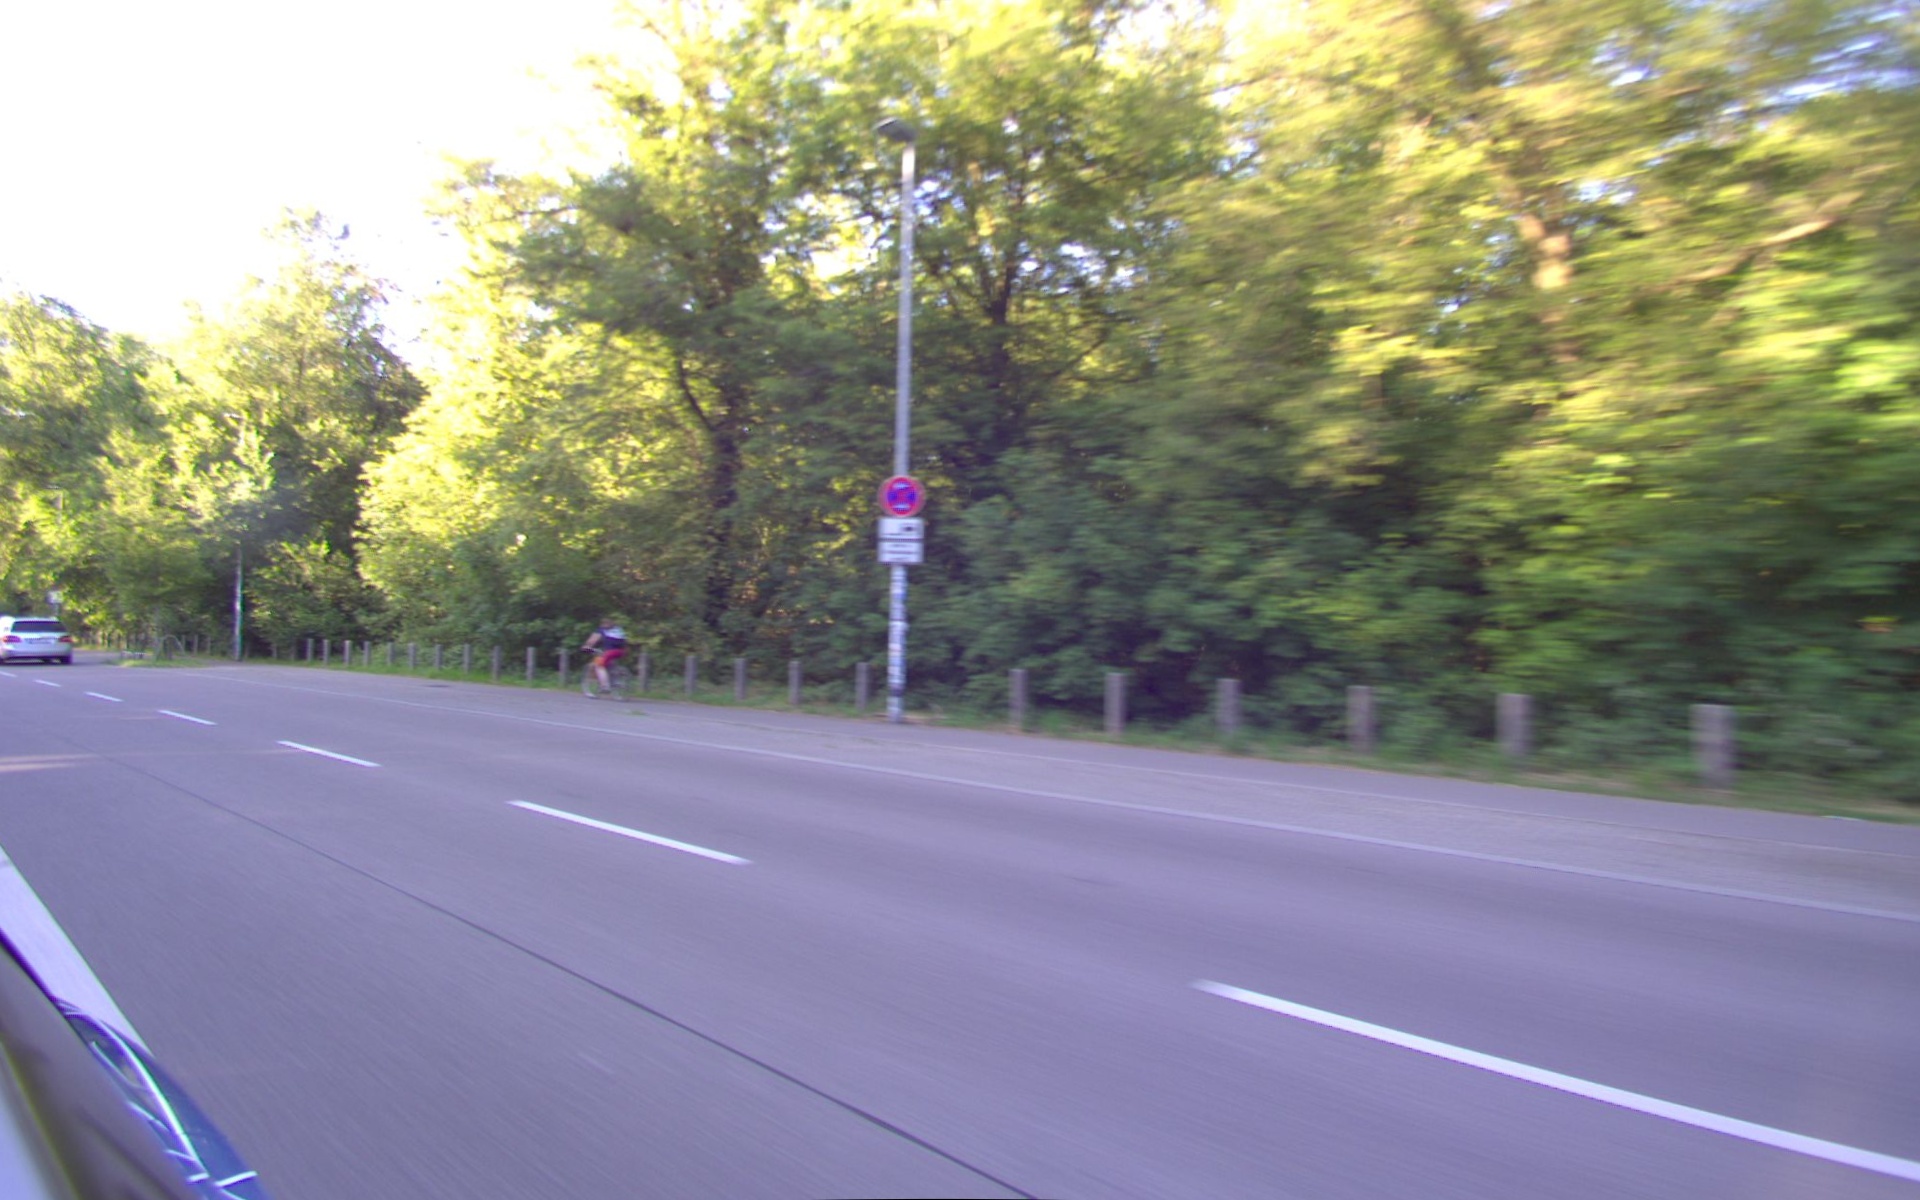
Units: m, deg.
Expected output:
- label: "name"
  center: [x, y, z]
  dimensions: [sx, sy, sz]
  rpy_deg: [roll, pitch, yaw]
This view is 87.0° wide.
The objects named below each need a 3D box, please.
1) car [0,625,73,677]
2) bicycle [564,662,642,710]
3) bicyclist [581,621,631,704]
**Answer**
- label: "car"
  center: [-29.915, 1.569, 32.197]
  dimensions: [4.525, 1.543, 1.879]
  rpy_deg: [-1, -2, 40]
- label: "bicycle"
  center: [-6.607, 1.569, 18.702]
  dimensions: [1.807, 0.820, 0.490]
  rpy_deg: [-2, -5, 41]
- label: "bicyclist"
  center: [-6.527, 1.139, 18.655]
  dimensions: [0.760, 1.495, 0.494]
  rpy_deg: [-2, -4, 41]
